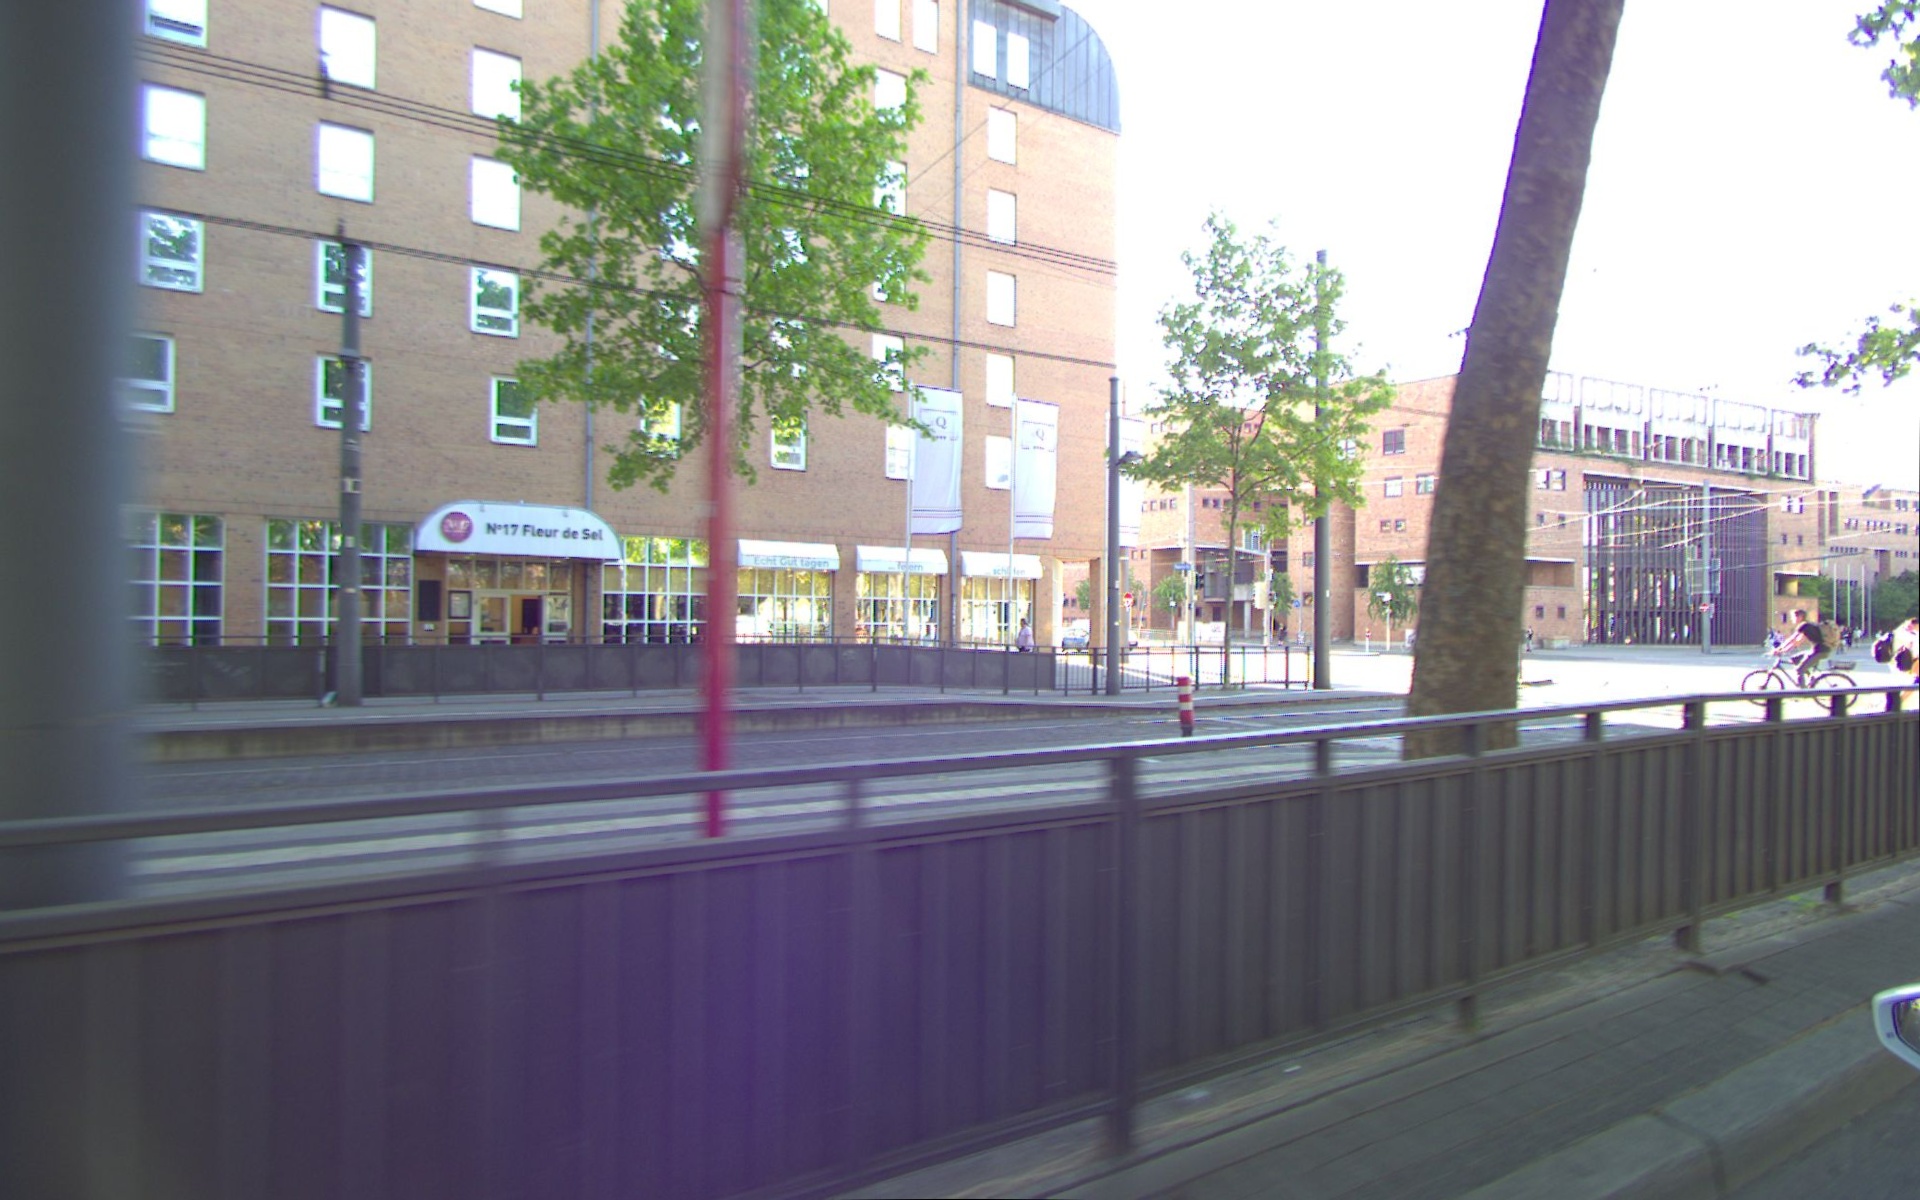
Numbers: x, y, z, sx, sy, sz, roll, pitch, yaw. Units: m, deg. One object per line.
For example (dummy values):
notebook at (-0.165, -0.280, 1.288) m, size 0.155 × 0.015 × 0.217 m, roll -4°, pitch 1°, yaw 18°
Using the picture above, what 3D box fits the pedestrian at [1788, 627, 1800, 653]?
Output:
pedestrian at (52.445, 2.505, 63.162) m, size 0.530 × 1.672 × 0.623 m, roll -1°, pitch -2°, yaw 39°

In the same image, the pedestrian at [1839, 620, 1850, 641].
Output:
pedestrian at (76.712, 2.660, 87.126) m, size 0.538 × 1.803 × 0.521 m, roll 1°, pitch -1°, yaw -25°

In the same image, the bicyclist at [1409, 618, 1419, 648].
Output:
bicyclist at (32.148, 2.336, 71.131) m, size 0.551 × 2.087 × 0.451 m, roll 0°, pitch -1°, yaw 14°

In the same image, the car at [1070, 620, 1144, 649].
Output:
car at (8.955, 2.106, 61.409) m, size 1.983 × 1.719 × 4.312 m, roll 1°, pitch -2°, yaw -38°

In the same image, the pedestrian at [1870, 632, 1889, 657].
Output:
pedestrian at (56.881, 2.753, 62.136) m, size 0.503 × 1.550 × 0.749 m, roll 1°, pitch 0°, yaw -38°

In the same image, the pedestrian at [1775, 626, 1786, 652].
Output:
pedestrian at (51.988, 2.475, 63.643) m, size 0.530 × 1.672 × 0.623 m, roll -1°, pitch -2°, yaw 39°

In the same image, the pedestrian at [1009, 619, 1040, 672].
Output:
pedestrian at (1.975, 1.392, 30.862) m, size 0.717 × 1.606 × 0.586 m, roll 1°, pitch 1°, yaw -33°

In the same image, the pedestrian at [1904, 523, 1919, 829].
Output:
pedestrian at (6.463, 0.491, 6.342) m, size 0.751 × 1.925 × 0.507 m, roll 2°, pitch 0°, yaw -31°

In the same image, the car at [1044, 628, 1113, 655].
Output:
car at (6.888, 2.395, 58.725) m, size 1.980 × 1.476 × 3.928 m, roll 1°, pitch -2°, yaw -35°

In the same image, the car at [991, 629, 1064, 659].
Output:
car at (3.806, 2.491, 57.565) m, size 1.807 × 1.604 × 4.453 m, roll 1°, pitch -1°, yaw -34°

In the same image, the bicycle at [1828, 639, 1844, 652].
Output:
bicycle at (58.457, 3.027, 67.005) m, size 1.824 × 0.893 × 0.508 m, roll 1°, pitch -2°, yaw -40°

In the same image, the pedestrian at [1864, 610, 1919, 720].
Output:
pedestrian at (16.793, 1.132, 17.766) m, size 0.732 × 1.896 × 1.065 m, roll 2°, pitch 0°, yaw -39°

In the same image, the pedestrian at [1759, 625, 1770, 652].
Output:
pedestrian at (50.954, 2.452, 63.612) m, size 0.530 × 1.672 × 0.623 m, roll -1°, pitch -2°, yaw 39°

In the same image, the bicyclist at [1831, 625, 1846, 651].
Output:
bicyclist at (58.564, 2.509, 66.955) m, size 0.782 × 1.697 × 0.589 m, roll 1°, pitch -1°, yaw -38°

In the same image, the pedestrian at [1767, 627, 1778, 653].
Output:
pedestrian at (52.355, 2.546, 64.698) m, size 0.530 × 1.672 × 0.623 m, roll -1°, pitch -2°, yaw 39°

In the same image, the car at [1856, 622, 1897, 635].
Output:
car at (128.373, 3.965, 140.692) m, size 3.926 × 1.572 × 1.605 m, roll 2°, pitch 0°, yaw 28°

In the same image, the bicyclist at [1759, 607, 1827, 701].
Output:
bicyclist at (16.413, 1.045, 19.798) m, size 0.745 × 1.808 × 0.844 m, roll 1°, pitch -1°, yaw -34°

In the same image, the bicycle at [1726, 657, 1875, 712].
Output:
bicycle at (16.447, 1.627, 19.726) m, size 0.661 × 0.946 × 2.164 m, roll 1°, pitch -1°, yaw -33°

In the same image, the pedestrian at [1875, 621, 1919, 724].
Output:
pedestrian at (16.327, 1.223, 17.040) m, size 0.751 × 1.704 × 1.064 m, roll 2°, pitch 0°, yaw -39°

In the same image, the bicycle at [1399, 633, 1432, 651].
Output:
bicycle at (32.231, 2.938, 71.098) m, size 2.054 × 1.255 × 0.453 m, roll 0°, pitch -1°, yaw 14°

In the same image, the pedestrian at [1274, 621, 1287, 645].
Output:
pedestrian at (21.972, 2.268, 68.855) m, size 0.608 × 1.635 × 0.539 m, roll -1°, pitch 2°, yaw -37°

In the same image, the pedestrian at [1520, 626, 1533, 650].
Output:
pedestrian at (37.897, 2.537, 67.176) m, size 0.560 × 1.635 × 0.545 m, roll 0°, pitch -1°, yaw -1°
